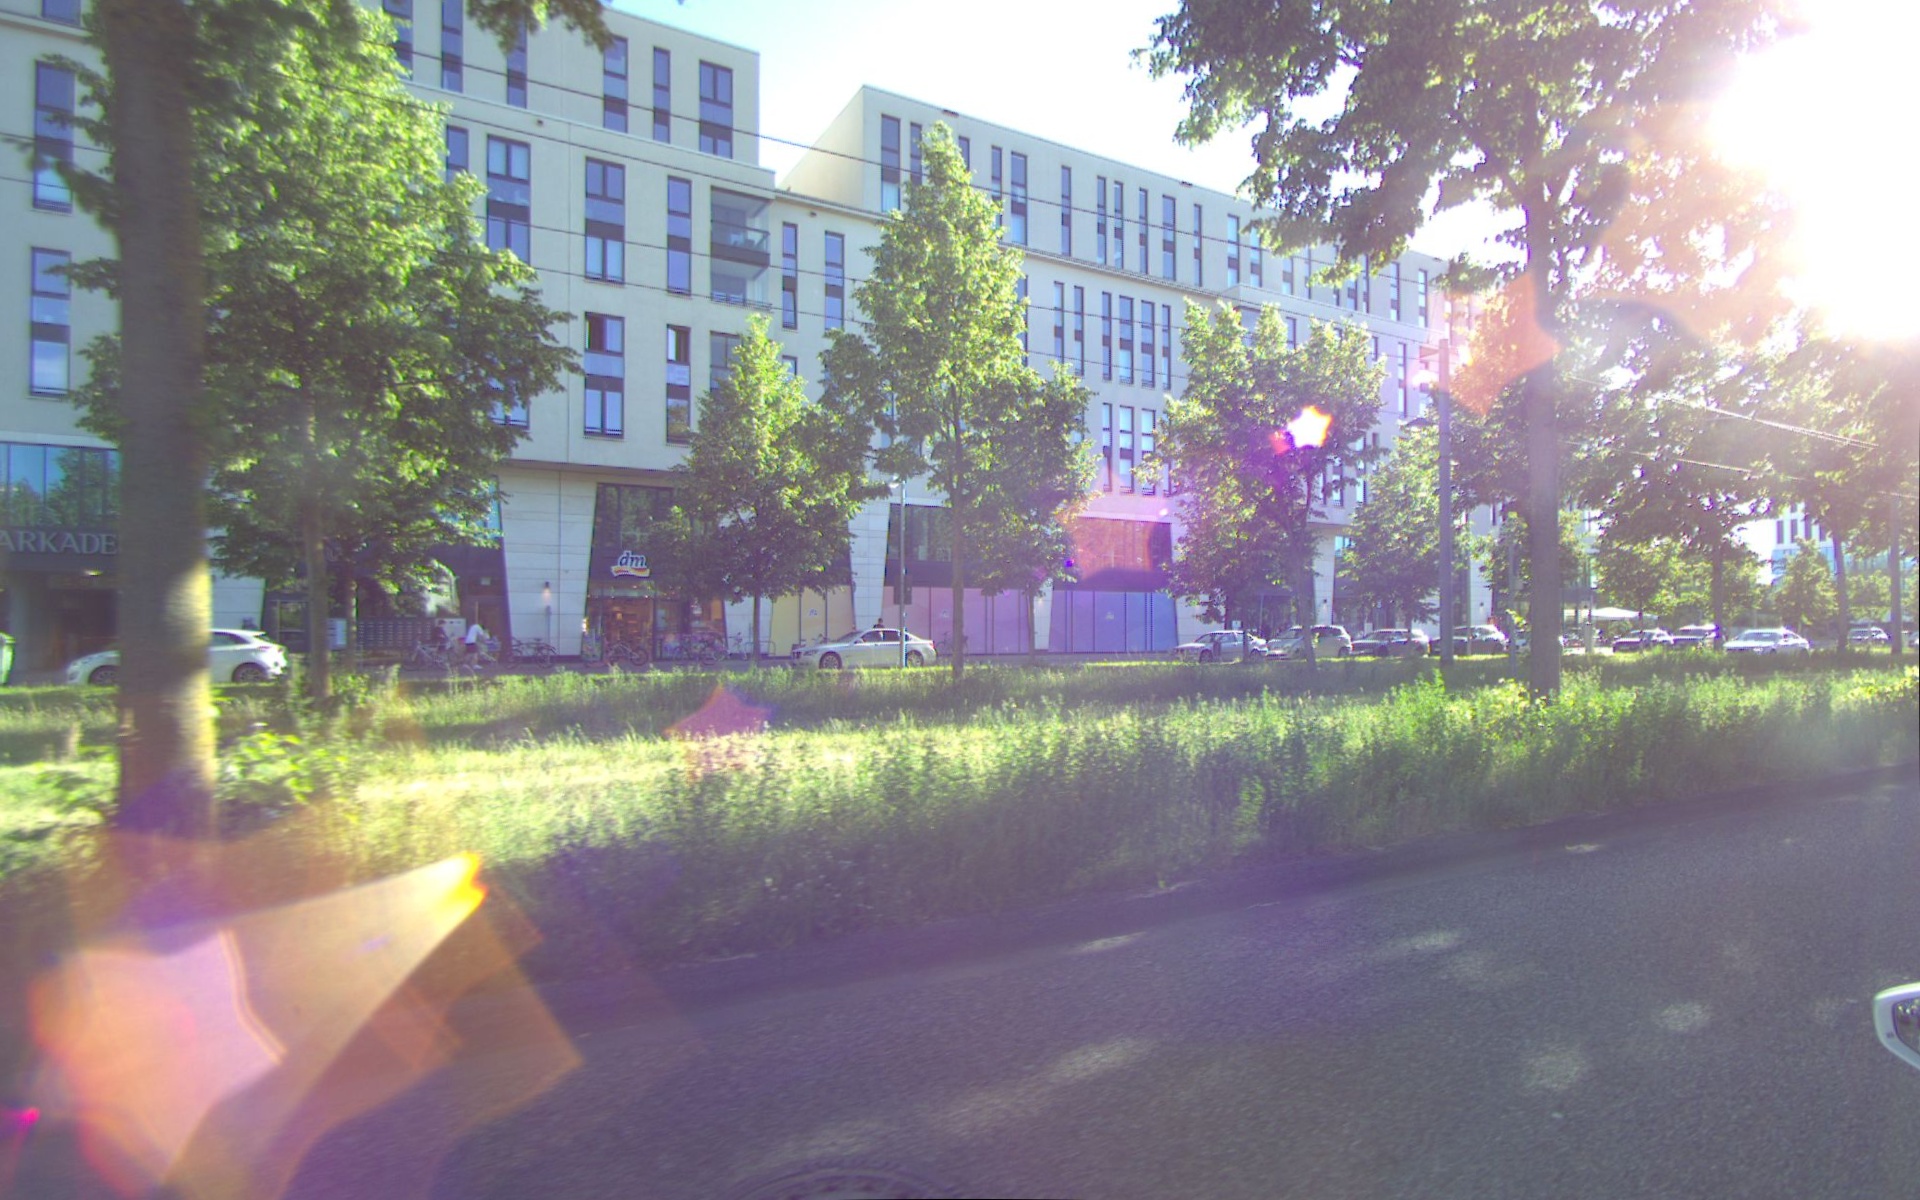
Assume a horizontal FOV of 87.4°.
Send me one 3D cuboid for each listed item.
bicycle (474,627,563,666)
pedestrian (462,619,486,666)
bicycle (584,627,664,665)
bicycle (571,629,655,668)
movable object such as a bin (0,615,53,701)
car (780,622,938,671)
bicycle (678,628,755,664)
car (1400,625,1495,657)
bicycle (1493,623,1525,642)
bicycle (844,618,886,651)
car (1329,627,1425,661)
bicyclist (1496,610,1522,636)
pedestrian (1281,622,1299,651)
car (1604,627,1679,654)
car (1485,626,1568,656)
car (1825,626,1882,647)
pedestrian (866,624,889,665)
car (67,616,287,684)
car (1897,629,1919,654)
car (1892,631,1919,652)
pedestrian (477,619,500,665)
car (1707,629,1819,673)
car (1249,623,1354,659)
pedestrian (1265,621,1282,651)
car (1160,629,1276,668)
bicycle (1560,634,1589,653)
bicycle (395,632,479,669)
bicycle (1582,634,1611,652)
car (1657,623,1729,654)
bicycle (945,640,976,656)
[{"bbox_3d":[-15.217,1.608,34.712,2.732,1.298,0.945,2,0,-23],"label":"bicycle"},{"bbox_3d":[-16.665,1.444,34.441,0.511,1.570,0.502,1,0,12],"label":"pedestrian"},{"bbox_3d":[-12.318,1.686,36.843,2.732,1.298,0.945,2,0,-23],"label":"bicycle"},{"bbox_3d":[-12.300,1.725,35.636,2.732,1.298,0.945,2,0,-23],"label":"bicycle"},{"bbox_3d":[-21.567,1.266,22.435,1.538,1.818,1.960,1,0,-31],"label":"movable object such as a bin"},{"bbox_3d":[-3.344,1.538,33.613,4.871,1.460,1.982,2,0,-32],"label":"car"},{"bbox_3d":[-9.243,1.747,38.174,2.732,1.298,0.945,2,0,-23],"label":"bicycle"},{"bbox_3d":[24.350,2.049,50.152,4.882,1.460,1.982,2,0,-32],"label":"car"},{"bbox_3d":[30.705,1.799,56.152,2.163,1.014,0.494,2,0,-30],"label":"bicycle"},{"bbox_3d":[-3.882,1.422,41.218,1.590,1.298,0.594,2,0,-32],"label":"bicycle"},{"bbox_3d":[19.533,2.051,47.006,4.407,1.460,1.982,2,0,-32],"label":"car"},{"bbox_3d":[30.679,1.293,56.130,1.641,1.424,0.486,2,0,-30],"label":"bicyclist"},{"bbox_3d":[18.827,2.077,57.344,0.712,1.673,0.632,1,0,-32],"label":"pedestrian"},{"bbox_3d":[39.750,2.364,58.595,4.214,1.460,1.949,2,0,-30],"label":"car"},{"bbox_3d":[30.122,2.171,53.373,4.407,1.460,1.982,2,0,-32],"label":"car"},{"bbox_3d":[66.575,2.740,74.818,4.557,1.454,1.870,2,0,-31],"label":"car"},{"bbox_3d":[-3.416,1.829,41.487,0.712,1.673,0.632,1,0,-32],"label":"pedestrian"},{"bbox_3d":[-18.759,1.177,24.339,3.975,1.460,1.982,2,0,-32],"label":"car"},{"bbox_3d":[58.442,2.502,60.126,4.643,1.460,1.986,2,0,-27],"label":"car"},{"bbox_3d":[78.198,3.373,81.888,4.554,1.642,1.871,2,0,-29],"label":"car"},{"bbox_3d":[-16.491,1.452,35.143,0.511,1.570,0.502,1,0,12],"label":"pedestrian"},{"bbox_3d":[33.633,2.109,42.031,5.051,1.708,1.984,2,0,-30],"label":"car"},{"bbox_3d":[15.018,1.791,44.113,4.404,1.460,1.984,2,0,-30],"label":"car"},{"bbox_3d":[18.061,2.059,57.829,0.713,1.673,0.631,1,0,-37],"label":"pedestrian"},{"bbox_3d":[10.739,1.997,41.764,4.727,1.460,1.982,2,0,-32],"label":"car"},{"bbox_3d":[41.741,2.939,68.233,2.215,1.214,0.730,2,0,-31],"label":"bicycle"},{"bbox_3d":[-17.388,1.655,33.430,2.357,1.152,0.859,2,0,-40],"label":"bicycle"},{"bbox_3d":[44.087,3.006,69.560,2.215,1.214,0.730,2,0,-31],"label":"bicycle"},{"bbox_3d":[45.240,2.380,61.983,4.724,1.795,1.982,2,0,-32],"label":"car"},{"bbox_3d":[0.035,2.257,47.369,1.497,0.741,0.276,2,0,-28],"label":"bicycle"}]
